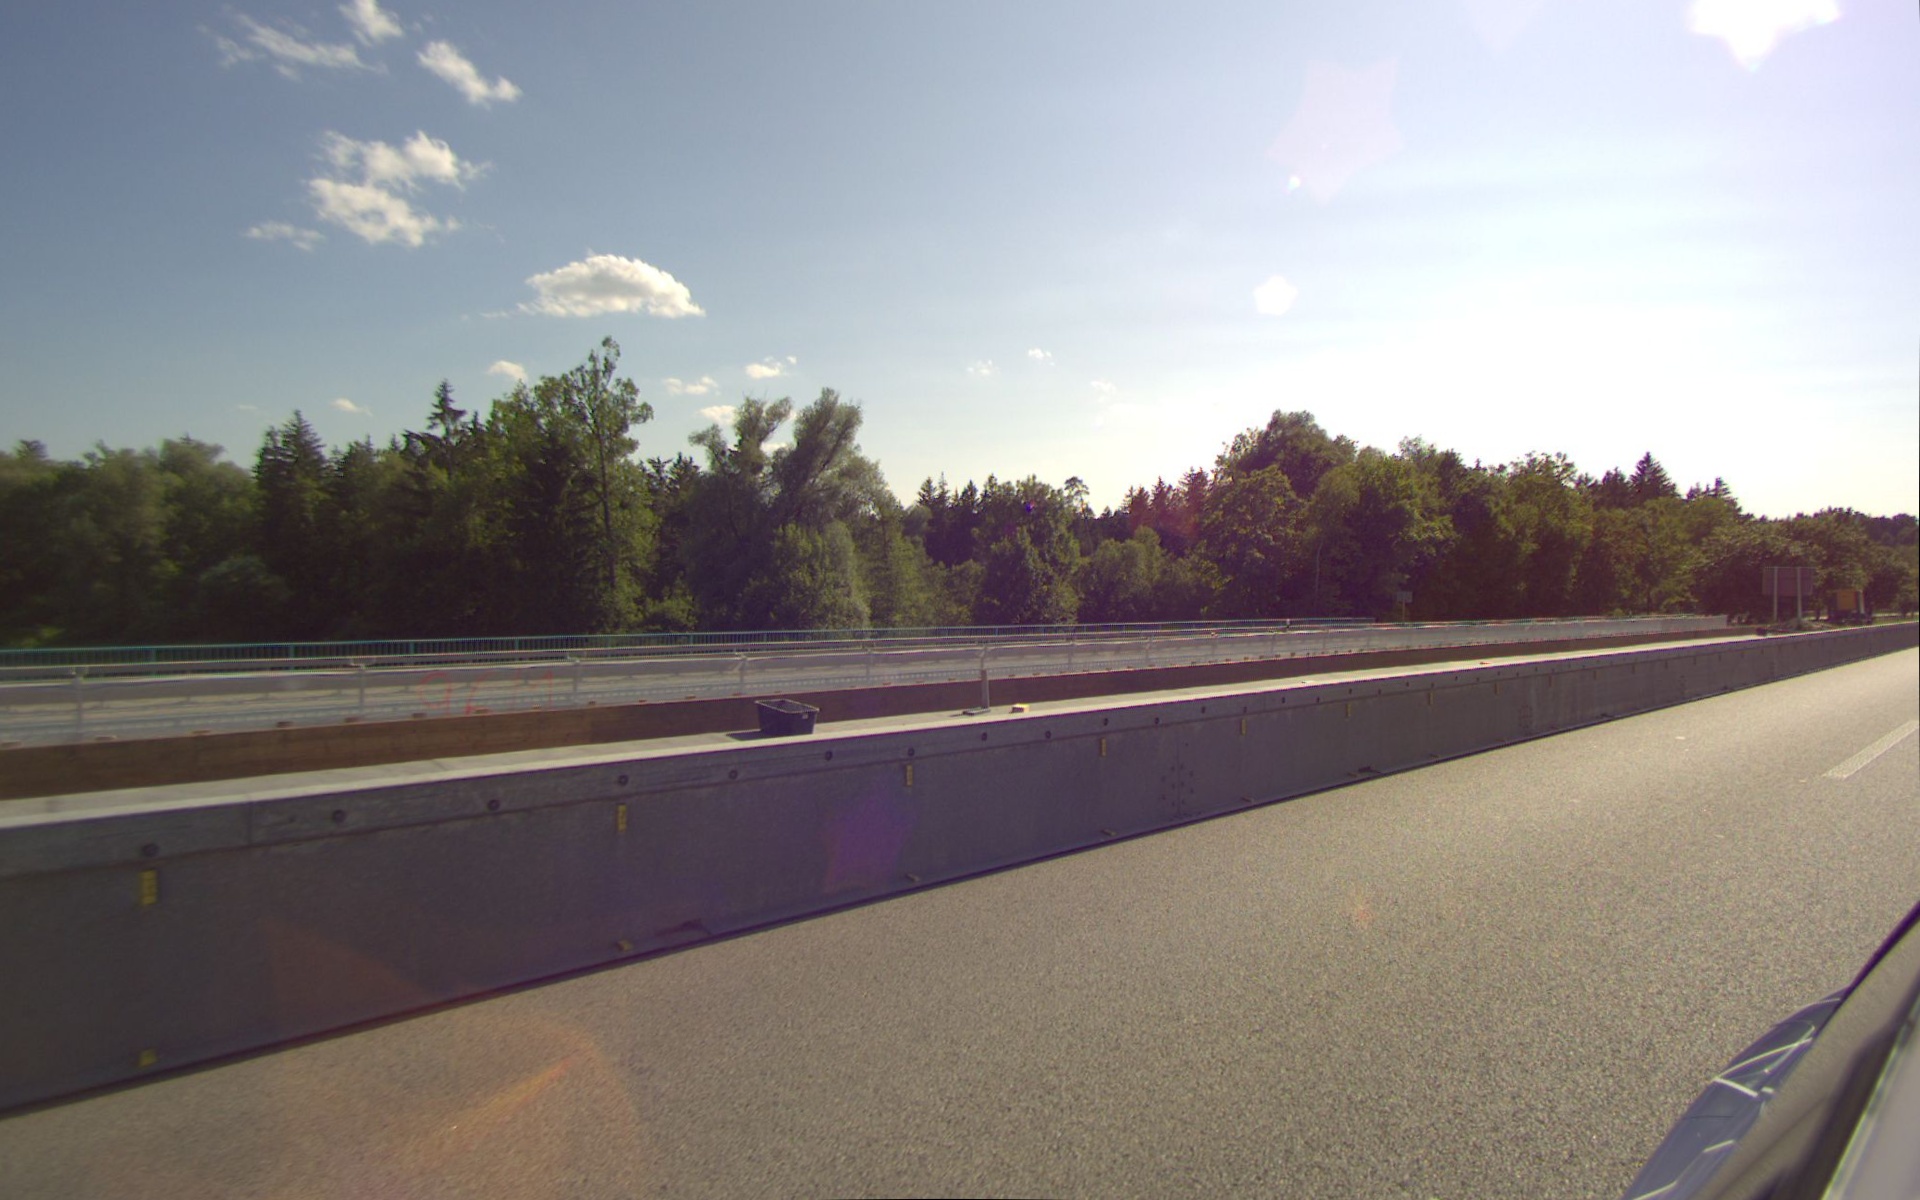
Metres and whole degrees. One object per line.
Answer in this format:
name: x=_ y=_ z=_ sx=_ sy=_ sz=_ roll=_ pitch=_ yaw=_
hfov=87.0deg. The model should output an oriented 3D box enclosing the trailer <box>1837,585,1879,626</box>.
trailer: x=43.974 y=0.244 z=49.529 sx=3.932 sy=1.897 sz=1.126 roll=0 pitch=2 yaw=-43
